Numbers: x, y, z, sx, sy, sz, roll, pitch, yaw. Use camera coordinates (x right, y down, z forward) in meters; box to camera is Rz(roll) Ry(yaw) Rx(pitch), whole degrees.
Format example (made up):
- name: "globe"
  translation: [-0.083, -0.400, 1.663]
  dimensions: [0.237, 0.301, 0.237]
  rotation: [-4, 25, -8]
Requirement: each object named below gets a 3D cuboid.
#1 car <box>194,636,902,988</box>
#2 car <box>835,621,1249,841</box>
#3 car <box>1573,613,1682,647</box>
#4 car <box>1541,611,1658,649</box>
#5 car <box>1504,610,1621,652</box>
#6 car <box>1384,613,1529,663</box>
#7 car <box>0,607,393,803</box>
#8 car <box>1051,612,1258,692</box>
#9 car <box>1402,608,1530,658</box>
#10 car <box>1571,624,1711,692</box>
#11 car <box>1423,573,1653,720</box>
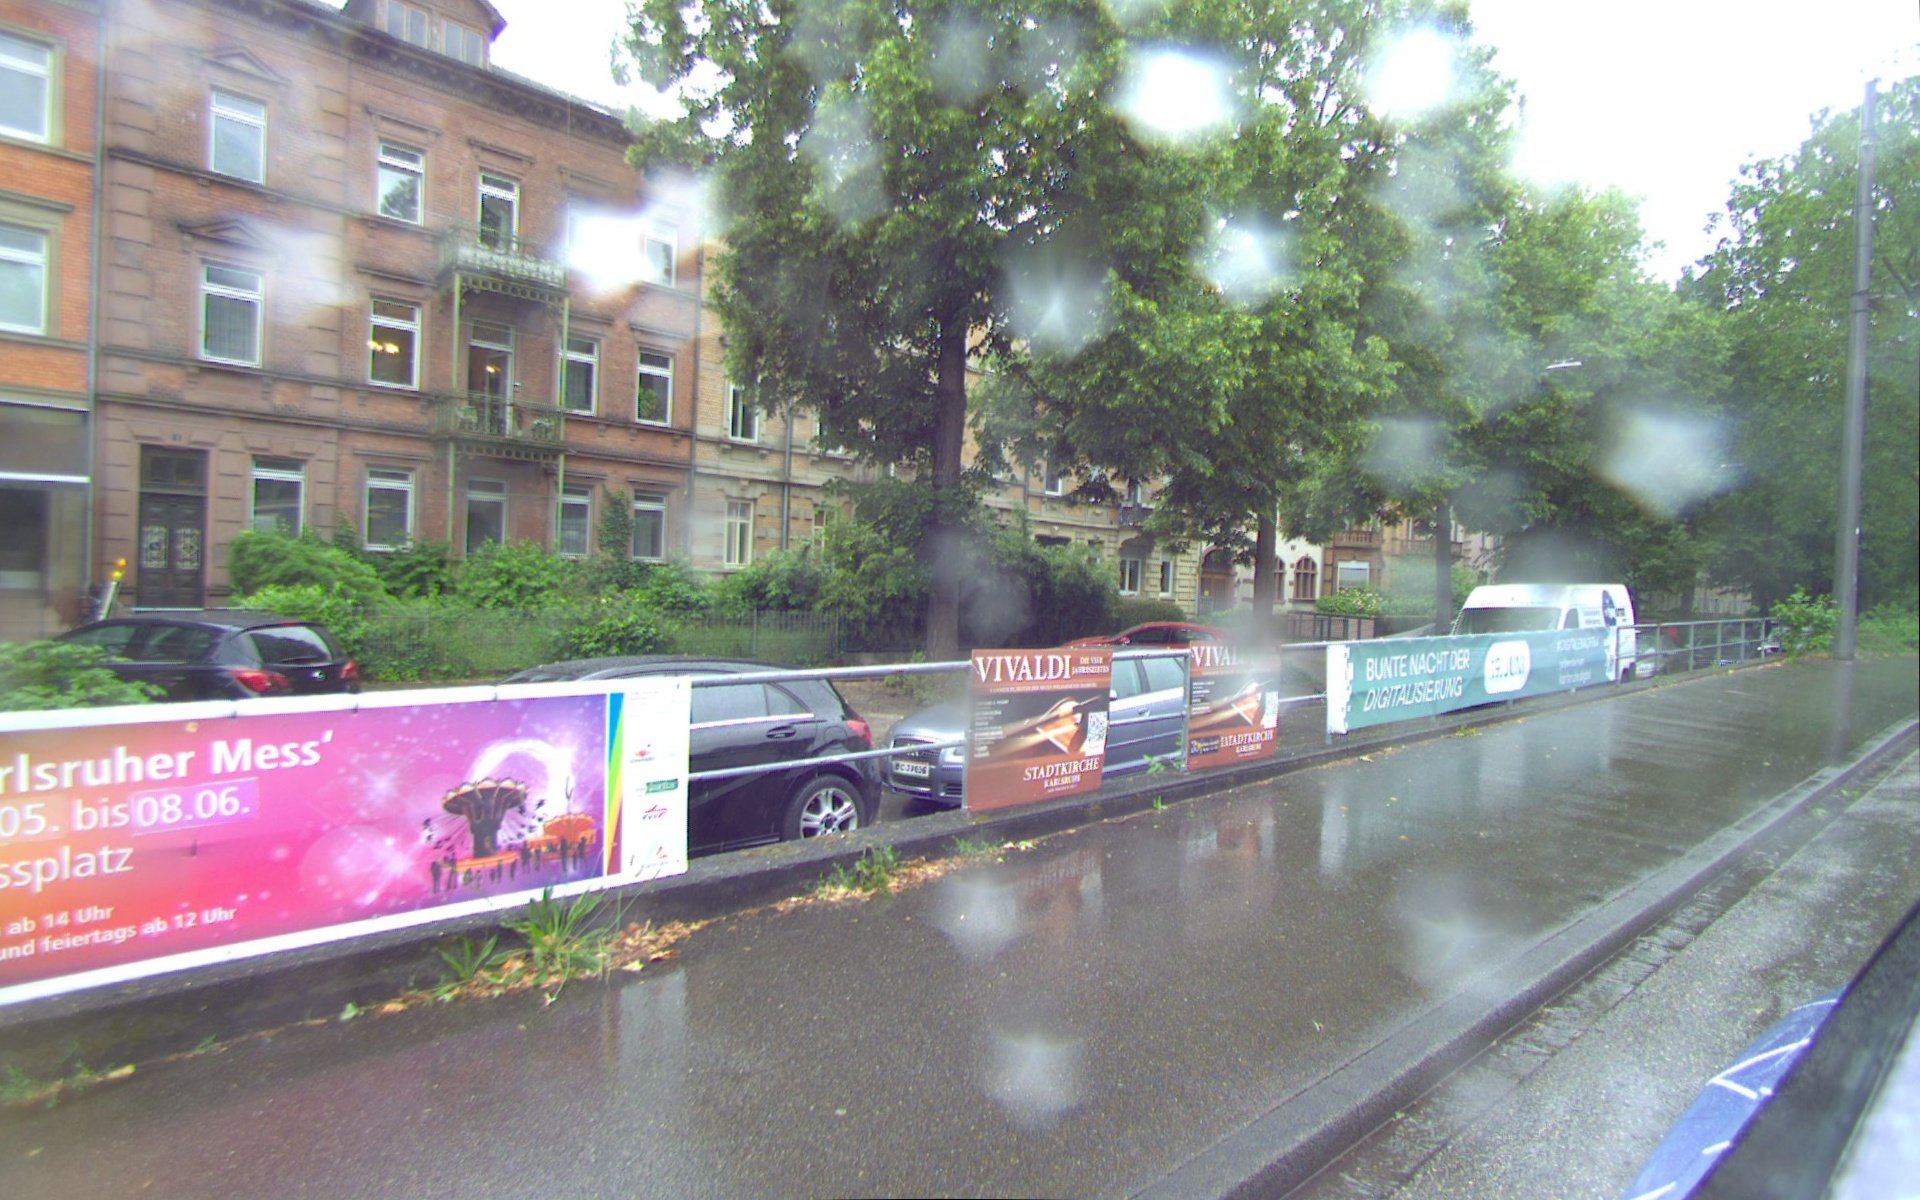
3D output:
- name: "car"
  translation: [-2.437, 1.031, 6.522]
  dimensions: [3.903, 1.417, 1.706]
  rotation: [0, 1, -41]
- name: "car"
  translation: [0.933, 1.041, 9.712]
  dimensions: [4.006, 1.559, 1.734]
  rotation: [0, 0, -43]
- name: "car"
  translation: [32.080, 1.420, 48.729]
  dimensions: [3.942, 1.482, 1.904]
  rotation: [0, 1, 15]
- name: "car"
  translation: [28.493, 1.304, 45.231]
  dimensions: [3.942, 1.585, 1.991]
  rotation: [0, 1, 15]
- name: "car"
  translation: [25.599, 1.284, 43.172]
  dimensions: [3.947, 1.629, 1.815]
  rotation: [0, 0, 19]
- name: "car"
  translation: [16.519, 1.234, 33.891]
  dimensions: [4.214, 1.397, 1.679]
  rotation: [2, 2, 22]
- name: "car"
  translation: [-8.481, 0.987, 11.164]
  dimensions: [3.958, 1.735, 1.983]
  rotation: [1, 1, 25]
- name: "car"
  translation: [4.398, 1.106, 22.731]
  dimensions: [4.372, 1.471, 1.888]
  rotation: [2, 1, 18]
- name: "car"
  translation: [17.919, 1.143, 36.035]
  dimensions: [3.958, 1.523, 1.645]
  rotation: [2, 2, 25]
- name: "car"
  translation: [16.533, 1.326, 24.485]
  dimensions: [4.312, 1.370, 1.968]
  rotation: [0, 0, -44]
- name: "car"
  translation: [11.372, 0.759, 19.666]
  dimensions: [6.055, 2.451, 2.211]
  rotation: [0, 0, -43]
